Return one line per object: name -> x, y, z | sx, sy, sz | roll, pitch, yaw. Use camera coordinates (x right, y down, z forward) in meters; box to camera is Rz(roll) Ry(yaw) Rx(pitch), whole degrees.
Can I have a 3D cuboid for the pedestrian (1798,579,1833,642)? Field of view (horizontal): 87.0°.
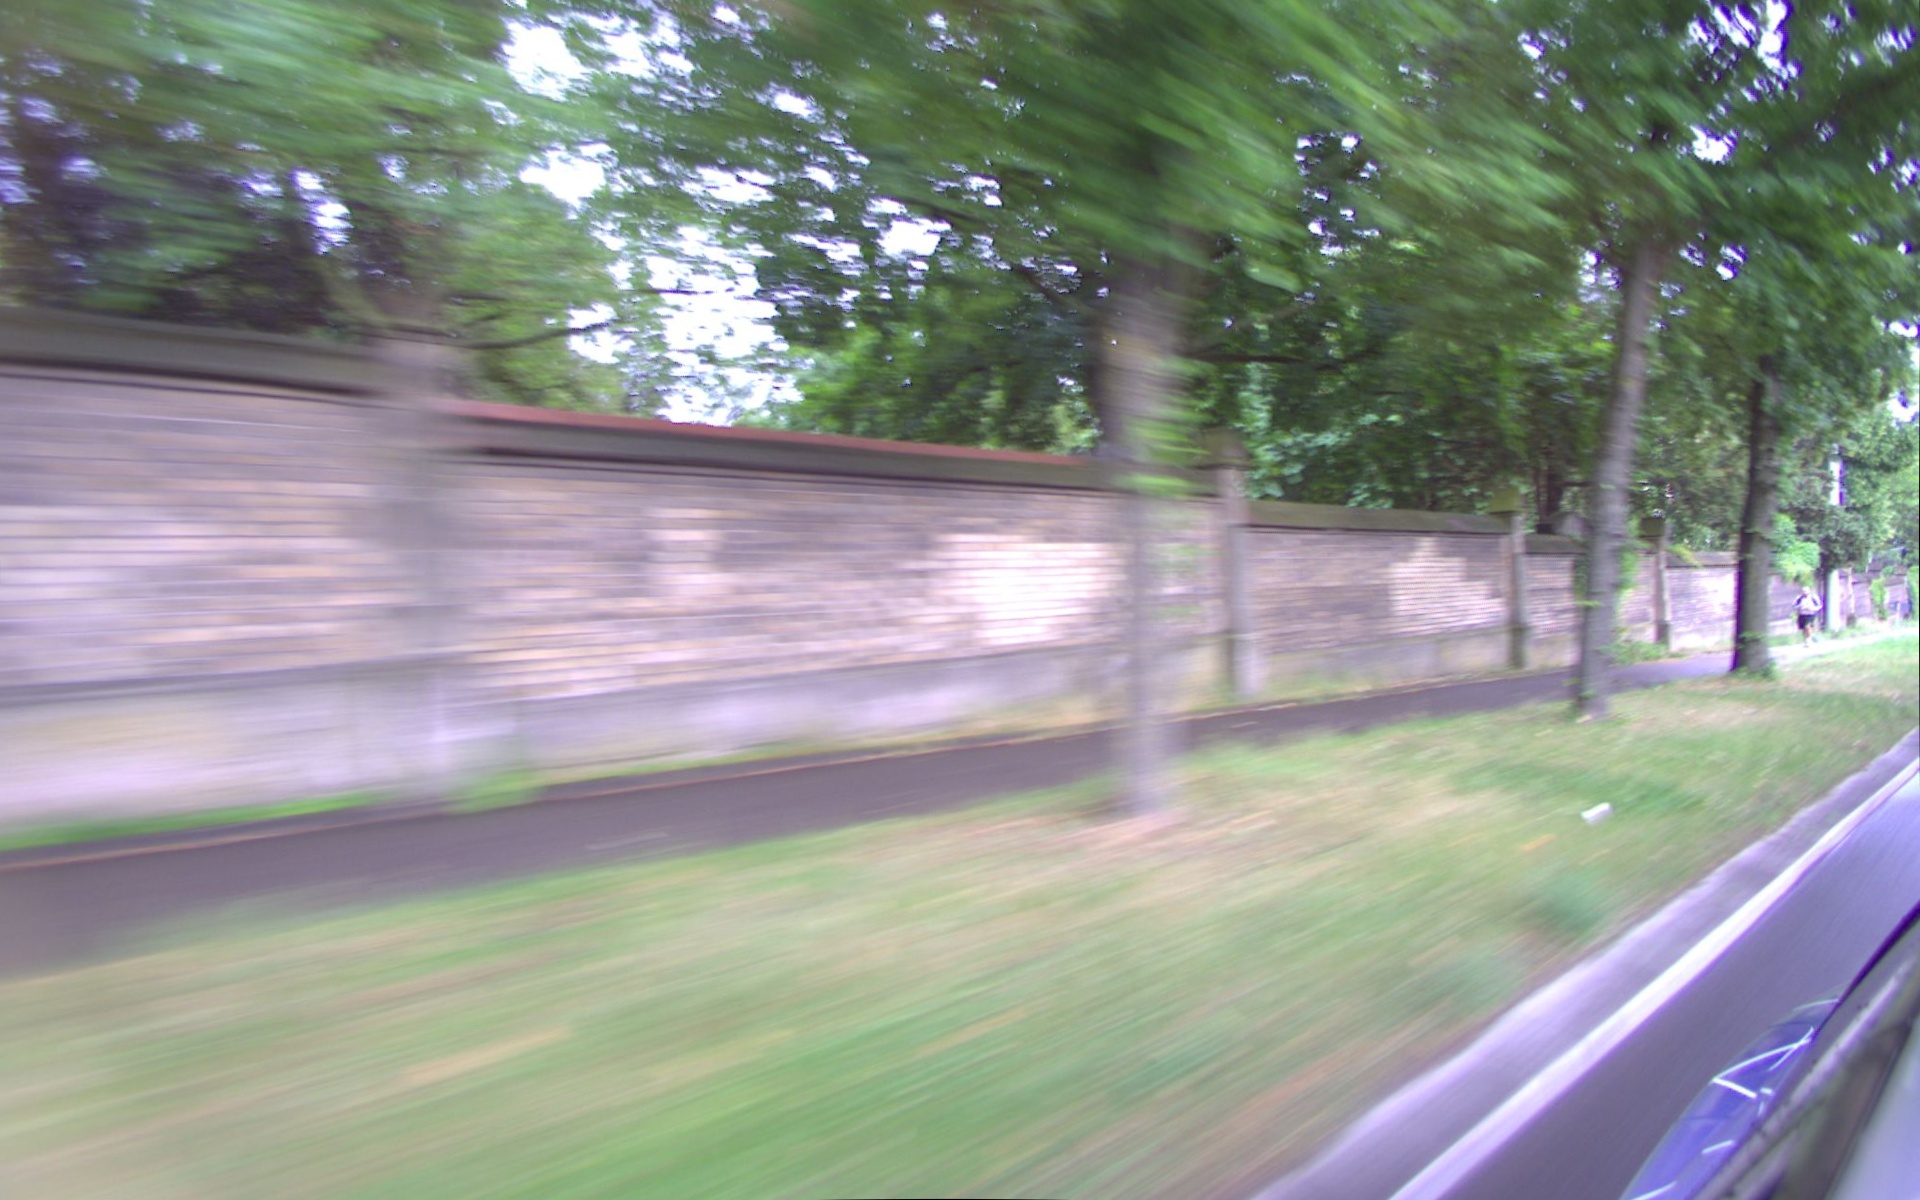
pedestrian -> 25.157, 0.301, 29.756 | 0.886, 1.802, 0.709 | 0, 0, -44
